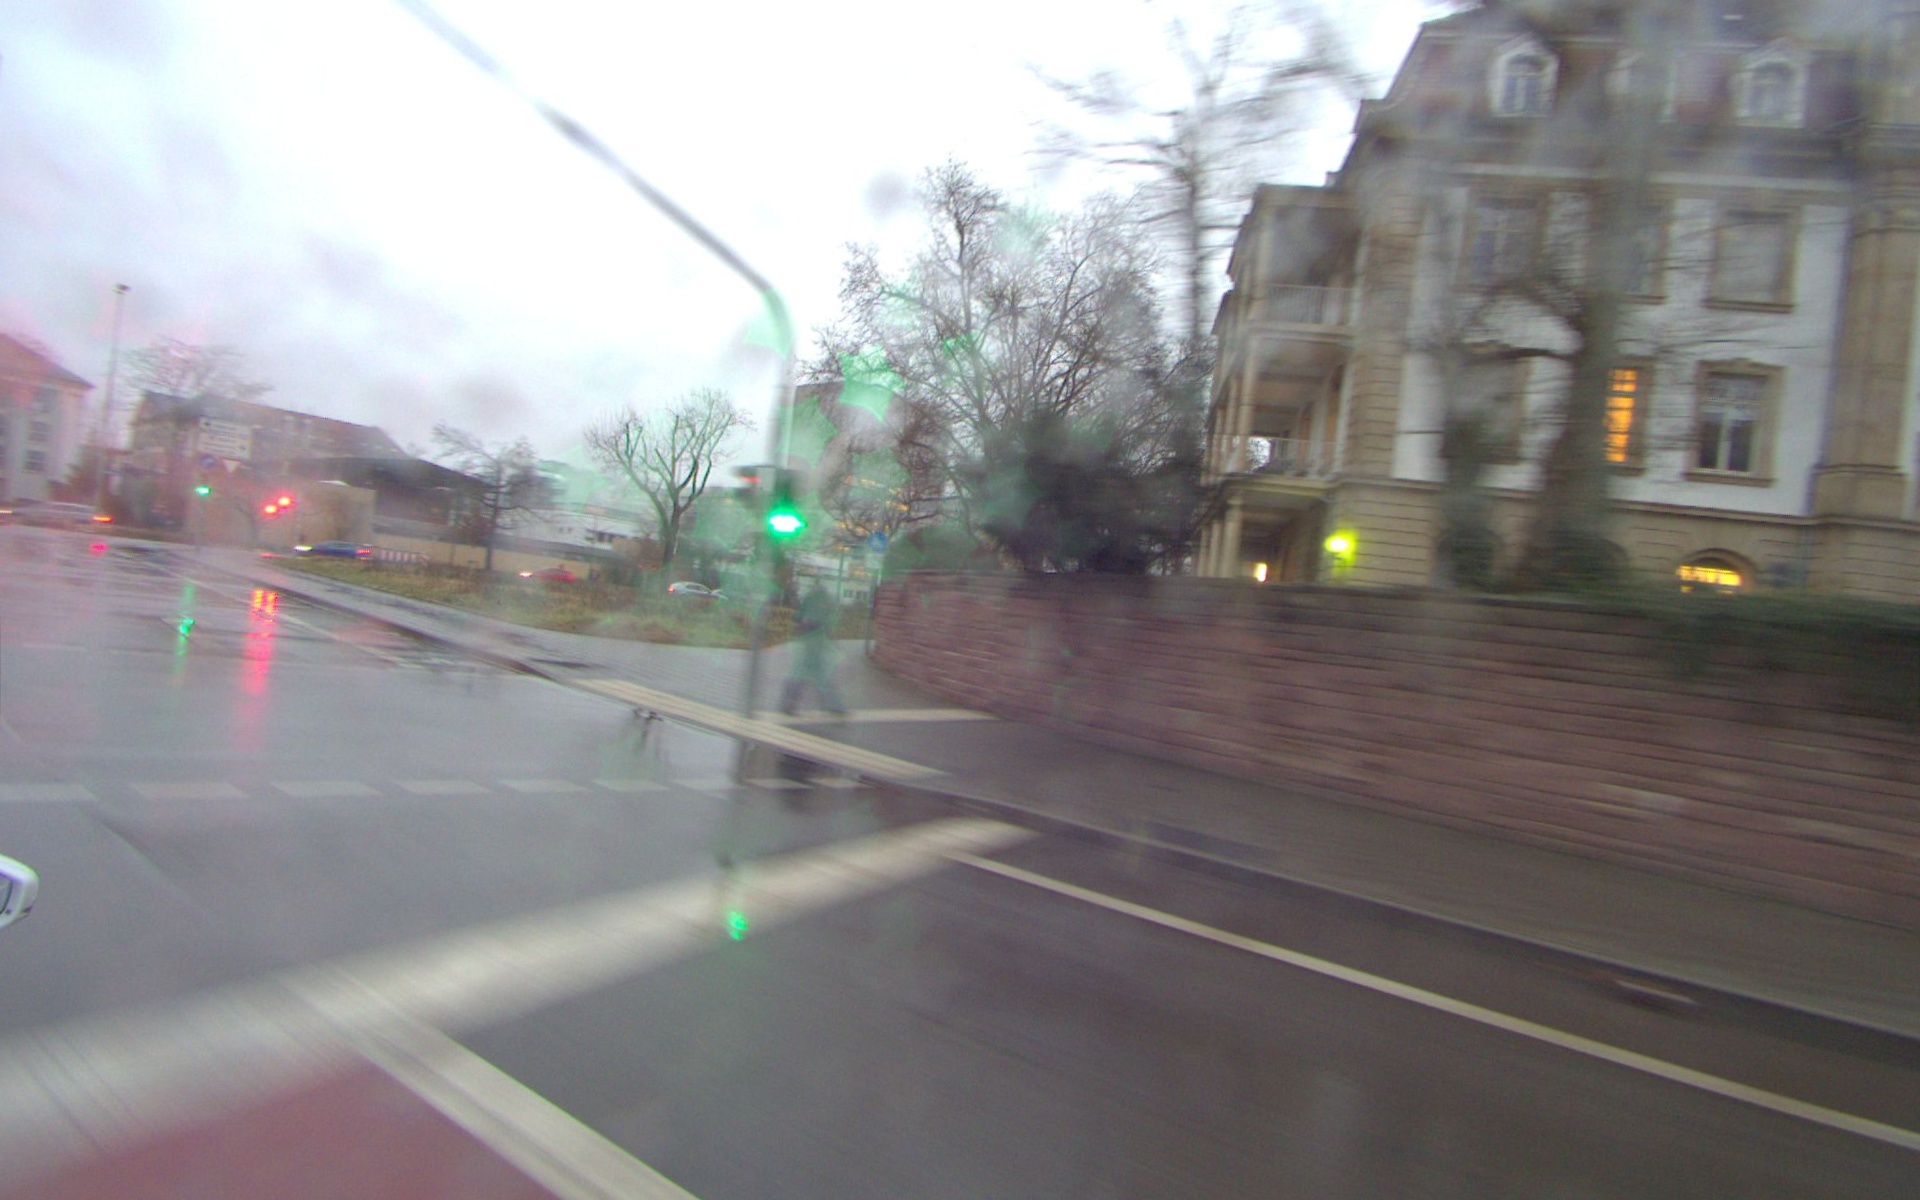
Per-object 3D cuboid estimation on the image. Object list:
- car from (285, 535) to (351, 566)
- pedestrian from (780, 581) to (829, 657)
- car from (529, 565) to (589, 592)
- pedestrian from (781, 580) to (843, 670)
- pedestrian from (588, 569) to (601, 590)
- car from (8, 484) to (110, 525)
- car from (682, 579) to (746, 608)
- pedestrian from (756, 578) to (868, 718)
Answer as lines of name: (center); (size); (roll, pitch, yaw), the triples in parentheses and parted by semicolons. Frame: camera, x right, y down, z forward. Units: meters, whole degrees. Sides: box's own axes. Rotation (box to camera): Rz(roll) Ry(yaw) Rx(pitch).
car: (-41.009, -3.155, 64.309); (3.387, 1.413, 1.458); (9, -3, -31)
pedestrian: (-3.655, 0.442, 23.739); (0.765, 1.697, 0.962); (6, 1, 5)
car: (-29.510, -1.589, 74.079); (3.774, 1.413, 1.549); (9, -4, -38)
pedestrian: (-2.936, 0.511, 20.019); (0.717, 1.697, 0.790); (7, 1, 30)
pedestrian: (-31.497, -1.786, 86.655); (0.621, 1.744, 0.752); (8, -3, -40)
car: (-50.282, -5.305, 56.242); (3.890, 1.502, 1.458); (9, -3, -31)
car: (-11.388, -0.303, 46.589); (2.646, 0.989, 1.295); (8, 0, -22)
pedestrian: (-1.985, 0.639, 13.445); (1.141, 1.706, 0.802); (8, 2, 44)
